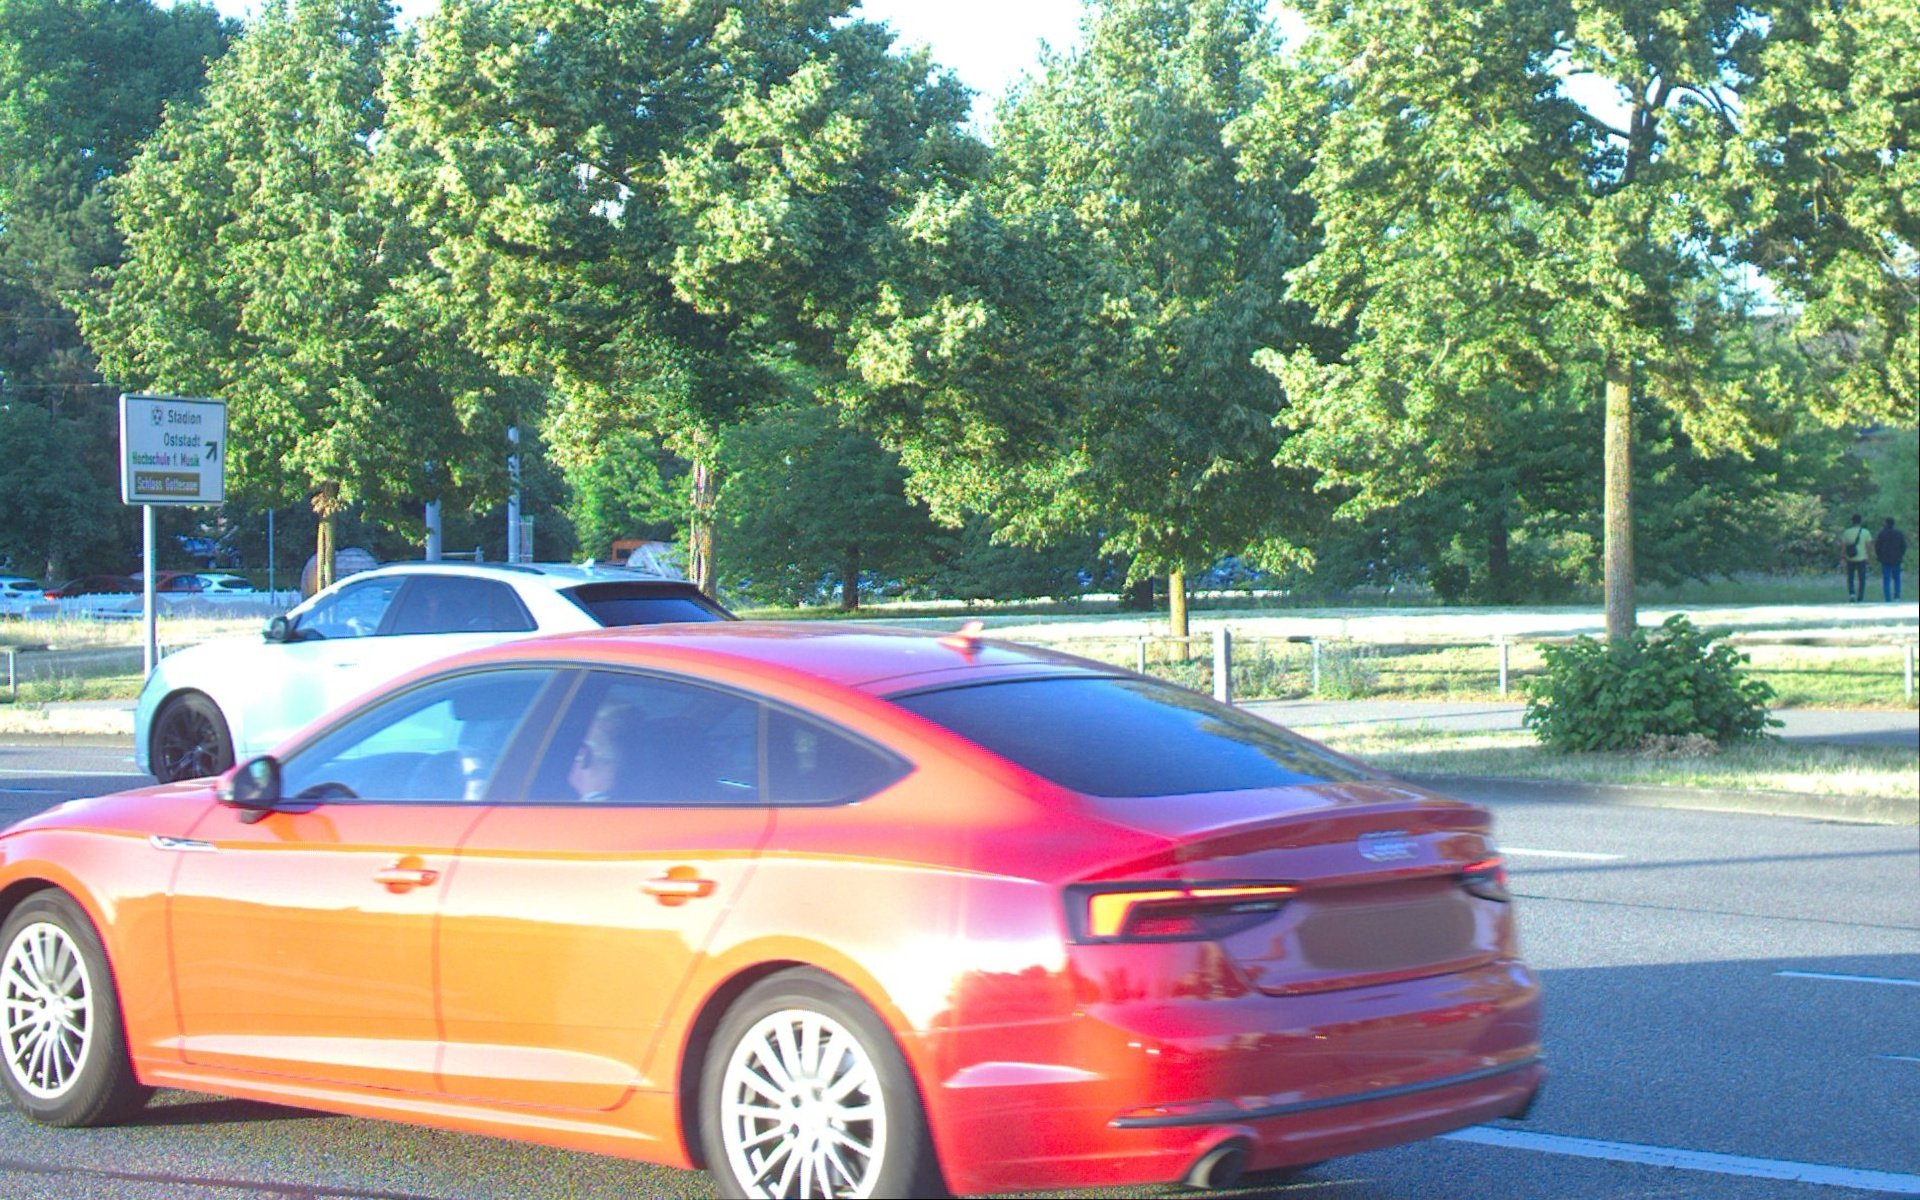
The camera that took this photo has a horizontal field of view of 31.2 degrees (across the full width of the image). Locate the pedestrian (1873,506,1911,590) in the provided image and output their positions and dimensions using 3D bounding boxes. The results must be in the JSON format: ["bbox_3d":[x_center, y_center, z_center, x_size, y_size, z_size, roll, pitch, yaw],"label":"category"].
[{"bbox_3d":[18.134,-1.013,66.867,0.530,1.621,0.619,0,1,35],"label":"pedestrian"}]

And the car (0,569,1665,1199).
[{"bbox_3d":[-0.699,0.687,8.790,4.577,1.455,1.841,1,2,40],"label":"car"}]

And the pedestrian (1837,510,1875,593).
[{"bbox_3d":[17.500,-0.944,67.115,0.532,1.621,0.579,0,1,37],"label":"pedestrian"}]

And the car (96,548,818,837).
[{"bbox_3d":[-3.451,0.525,23.056,4.936,1.704,1.909,1,2,38],"label":"car"}]

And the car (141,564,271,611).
[{"bbox_3d":[-25.408,-0.440,115.865,3.994,1.545,1.997,0,1,31],"label":"car"}]

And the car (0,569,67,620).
[{"bbox_3d":[-30.212,-0.175,107.929,3.994,1.545,1.997,0,1,31],"label":"car"}]

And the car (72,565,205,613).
[{"bbox_3d":[-27.268,-0.386,114.094,3.994,1.545,1.997,0,1,31],"label":"car"}]
